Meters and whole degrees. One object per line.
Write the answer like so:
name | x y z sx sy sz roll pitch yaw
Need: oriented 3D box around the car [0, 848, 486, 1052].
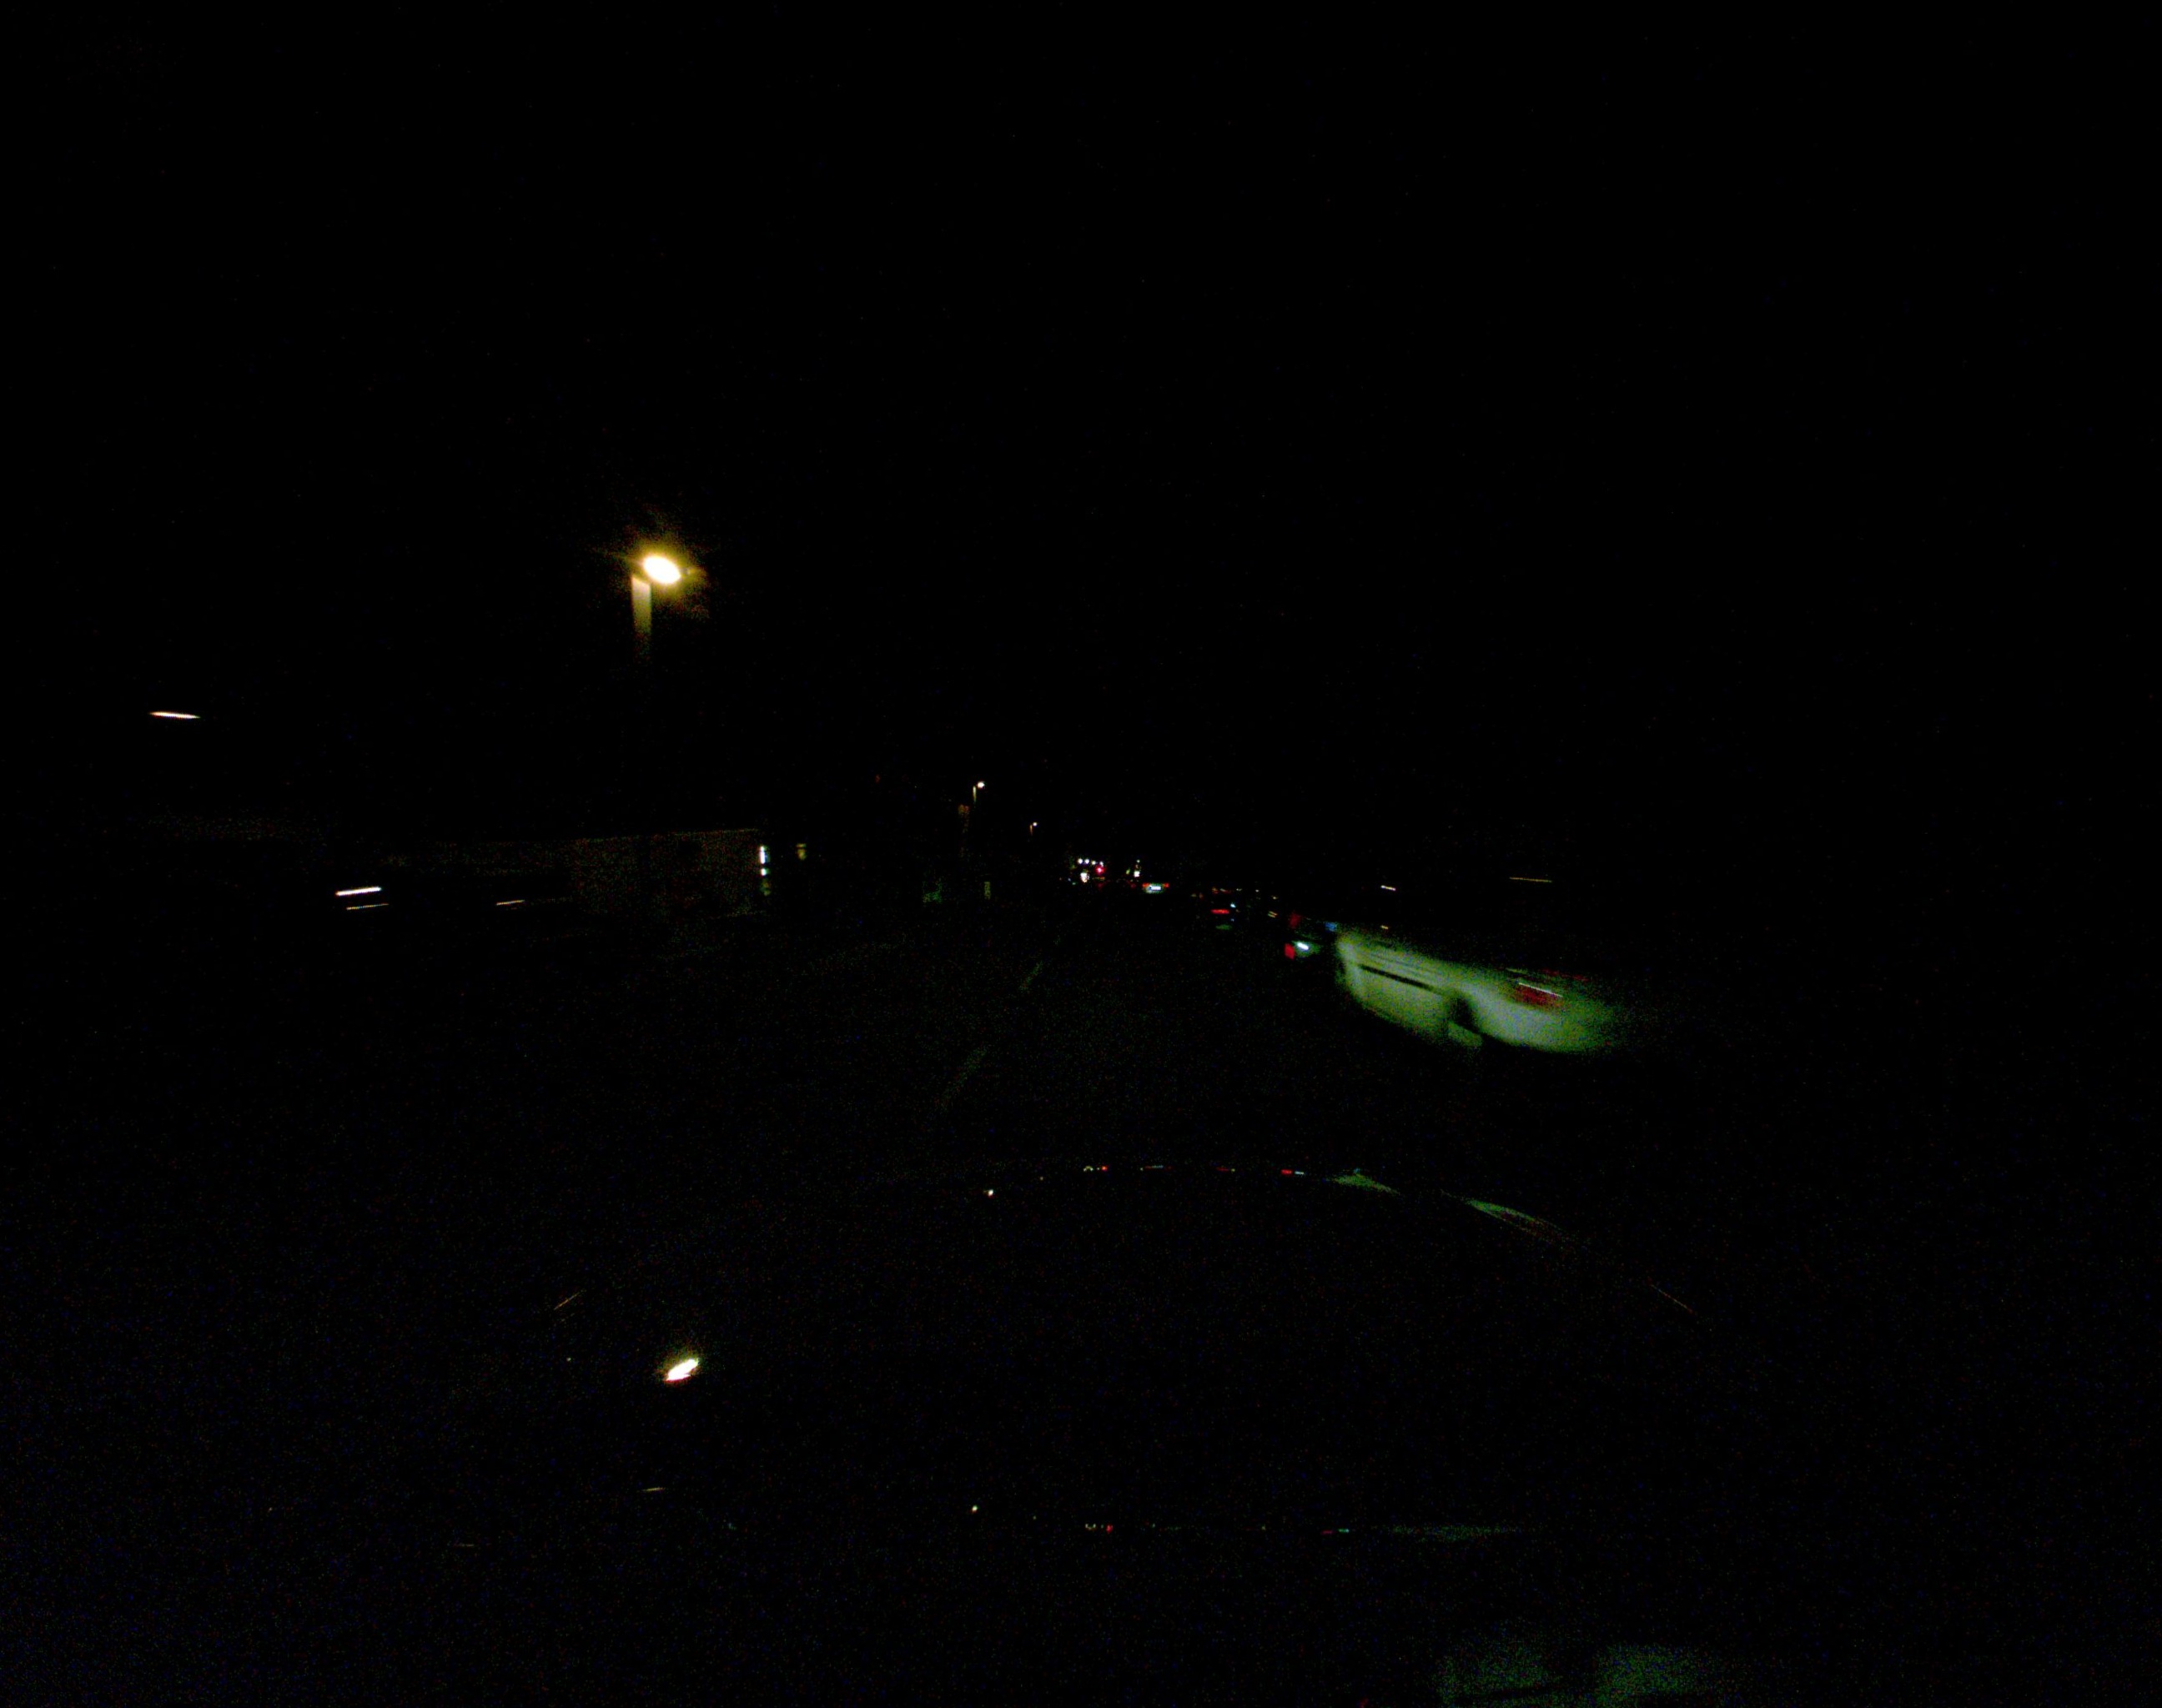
car | -8.525 0.815 7.611 4.399 1.613 2.066 -1 -2 2

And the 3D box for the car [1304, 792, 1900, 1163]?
car | 3.144 0.605 6.286 1.712 1.761 4.760 0 0 2

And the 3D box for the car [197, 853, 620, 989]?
car | -8.370 0.785 10.438 3.797 1.555 1.927 0 0 1

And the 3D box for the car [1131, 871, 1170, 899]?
car | 3.960 1.775 46.967 1.758 1.476 4.272 1 -2 -2

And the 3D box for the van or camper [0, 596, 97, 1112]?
van or camper | -9.114 -0.058 3.883 5.396 3.112 2.125 0 -4 -9

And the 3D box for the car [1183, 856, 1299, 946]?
car | 3.253 0.929 17.401 1.824 1.664 4.622 0 -2 4

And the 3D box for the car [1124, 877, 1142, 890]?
car | 5.745 3.272 89.882 1.859 1.403 4.006 0 -2 6

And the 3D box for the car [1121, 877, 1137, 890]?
car | 5.563 3.418 94.732 1.677 1.449 3.998 1 -2 -1

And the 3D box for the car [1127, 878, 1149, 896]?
car | 4.941 2.840 70.550 1.624 1.439 3.863 0 -2 0

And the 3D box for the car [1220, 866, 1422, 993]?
car | 3.206 0.919 11.775 1.737 1.471 4.257 1 -1 1

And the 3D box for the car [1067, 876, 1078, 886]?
car | -1.409 4.522 136.881 1.748 1.540 3.727 -1 -2 -2
